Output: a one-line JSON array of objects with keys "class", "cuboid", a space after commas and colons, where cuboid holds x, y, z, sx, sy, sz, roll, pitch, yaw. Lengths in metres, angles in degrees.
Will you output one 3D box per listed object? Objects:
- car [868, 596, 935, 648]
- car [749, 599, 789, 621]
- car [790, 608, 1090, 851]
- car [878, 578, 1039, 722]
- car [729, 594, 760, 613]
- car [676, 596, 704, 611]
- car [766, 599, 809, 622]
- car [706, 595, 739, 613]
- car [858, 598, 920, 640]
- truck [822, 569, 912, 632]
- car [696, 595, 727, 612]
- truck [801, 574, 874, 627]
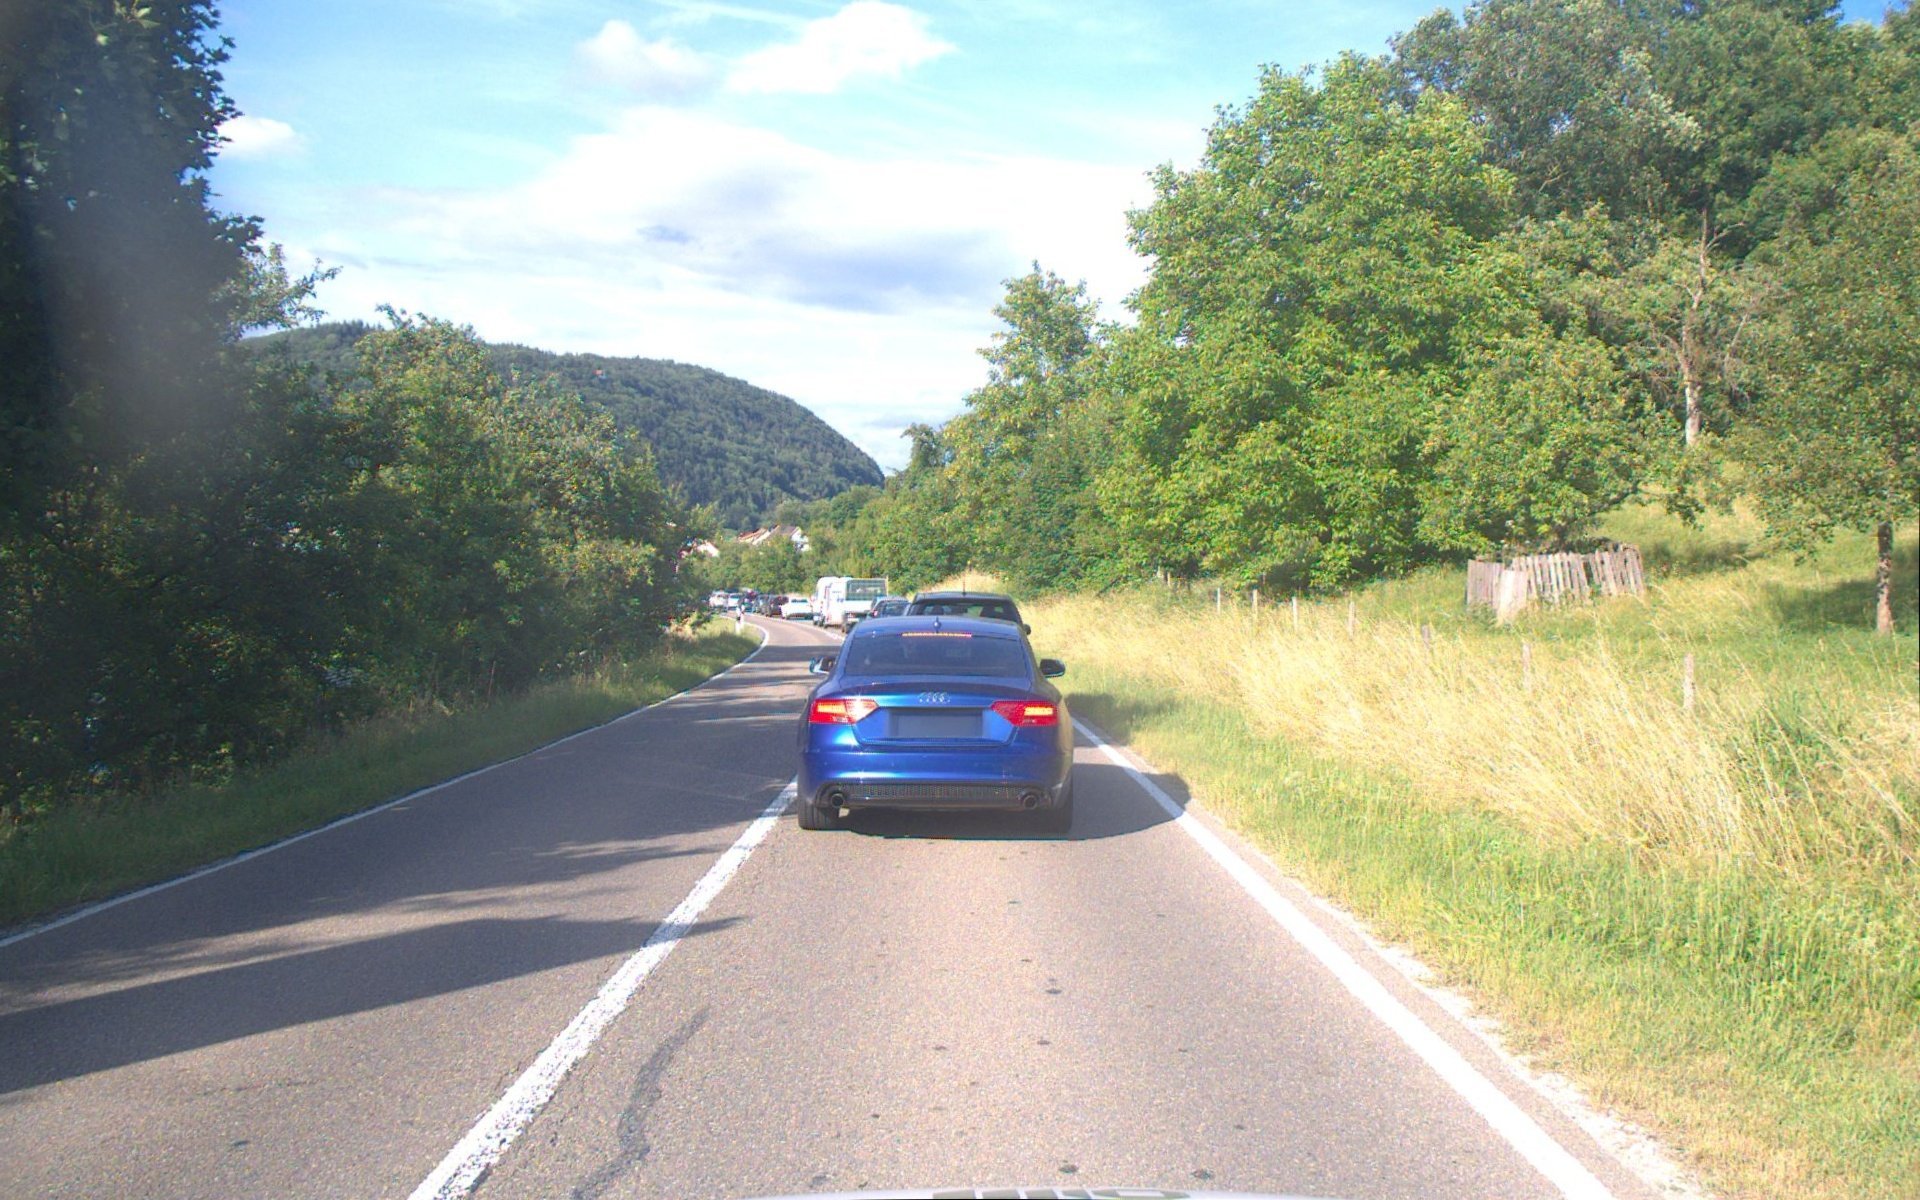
[{"class": "car", "cuboid": [-1.764, 0.669, 51.115, 1.953, 1.508, 3.999, 1, -1, -1]}, {"class": "car", "cuboid": [-13.566, 0.731, 117.405, 1.965, 1.508, 3.975, 1, -1, -21]}, {"class": "car", "cuboid": [-0.101, 0.773, 11.745, 1.757, 1.383, 4.000, 1, 0, 0]}, {"class": "car", "cuboid": [-0.026, 0.631, 22.298, 1.953, 1.732, 3.999, 1, -1, -1]}, {"class": "car", "cuboid": [-18.011, 0.307, 138.330, 1.962, 1.508, 3.982, 1, -1, -17]}, {"class": "car", "cuboid": [-27.425, 0.353, 167.760, 1.966, 1.508, 3.972, 1, -1, -23]}, {"class": "car", "cuboid": [-11.499, 0.710, 110.086, 1.965, 1.508, 3.975, 1, -1, -21]}, {"class": "car", "cuboid": [-21.071, 0.348, 146.829, 1.966, 1.508, 3.972, 1, -1, -23]}, {"class": "car", "cuboid": [-2.715, 0.725, 62.489, 1.956, 1.508, 3.993, 1, -1, -8]}, {"class": "truck", "cuboid": [-4.516, 0.013, 78.029, 2.813, 2.712, 10.364, 1, 0, -11]}, {"class": "car", "cuboid": [-23.328, 0.341, 155.162, 1.966, 1.508, 3.972, 1, -1, -23]}, {"class": "truck", "cuboid": [-6.899, 0.035, 91.744, 2.813, 2.712, 10.616, 1, 0, -11]}]
